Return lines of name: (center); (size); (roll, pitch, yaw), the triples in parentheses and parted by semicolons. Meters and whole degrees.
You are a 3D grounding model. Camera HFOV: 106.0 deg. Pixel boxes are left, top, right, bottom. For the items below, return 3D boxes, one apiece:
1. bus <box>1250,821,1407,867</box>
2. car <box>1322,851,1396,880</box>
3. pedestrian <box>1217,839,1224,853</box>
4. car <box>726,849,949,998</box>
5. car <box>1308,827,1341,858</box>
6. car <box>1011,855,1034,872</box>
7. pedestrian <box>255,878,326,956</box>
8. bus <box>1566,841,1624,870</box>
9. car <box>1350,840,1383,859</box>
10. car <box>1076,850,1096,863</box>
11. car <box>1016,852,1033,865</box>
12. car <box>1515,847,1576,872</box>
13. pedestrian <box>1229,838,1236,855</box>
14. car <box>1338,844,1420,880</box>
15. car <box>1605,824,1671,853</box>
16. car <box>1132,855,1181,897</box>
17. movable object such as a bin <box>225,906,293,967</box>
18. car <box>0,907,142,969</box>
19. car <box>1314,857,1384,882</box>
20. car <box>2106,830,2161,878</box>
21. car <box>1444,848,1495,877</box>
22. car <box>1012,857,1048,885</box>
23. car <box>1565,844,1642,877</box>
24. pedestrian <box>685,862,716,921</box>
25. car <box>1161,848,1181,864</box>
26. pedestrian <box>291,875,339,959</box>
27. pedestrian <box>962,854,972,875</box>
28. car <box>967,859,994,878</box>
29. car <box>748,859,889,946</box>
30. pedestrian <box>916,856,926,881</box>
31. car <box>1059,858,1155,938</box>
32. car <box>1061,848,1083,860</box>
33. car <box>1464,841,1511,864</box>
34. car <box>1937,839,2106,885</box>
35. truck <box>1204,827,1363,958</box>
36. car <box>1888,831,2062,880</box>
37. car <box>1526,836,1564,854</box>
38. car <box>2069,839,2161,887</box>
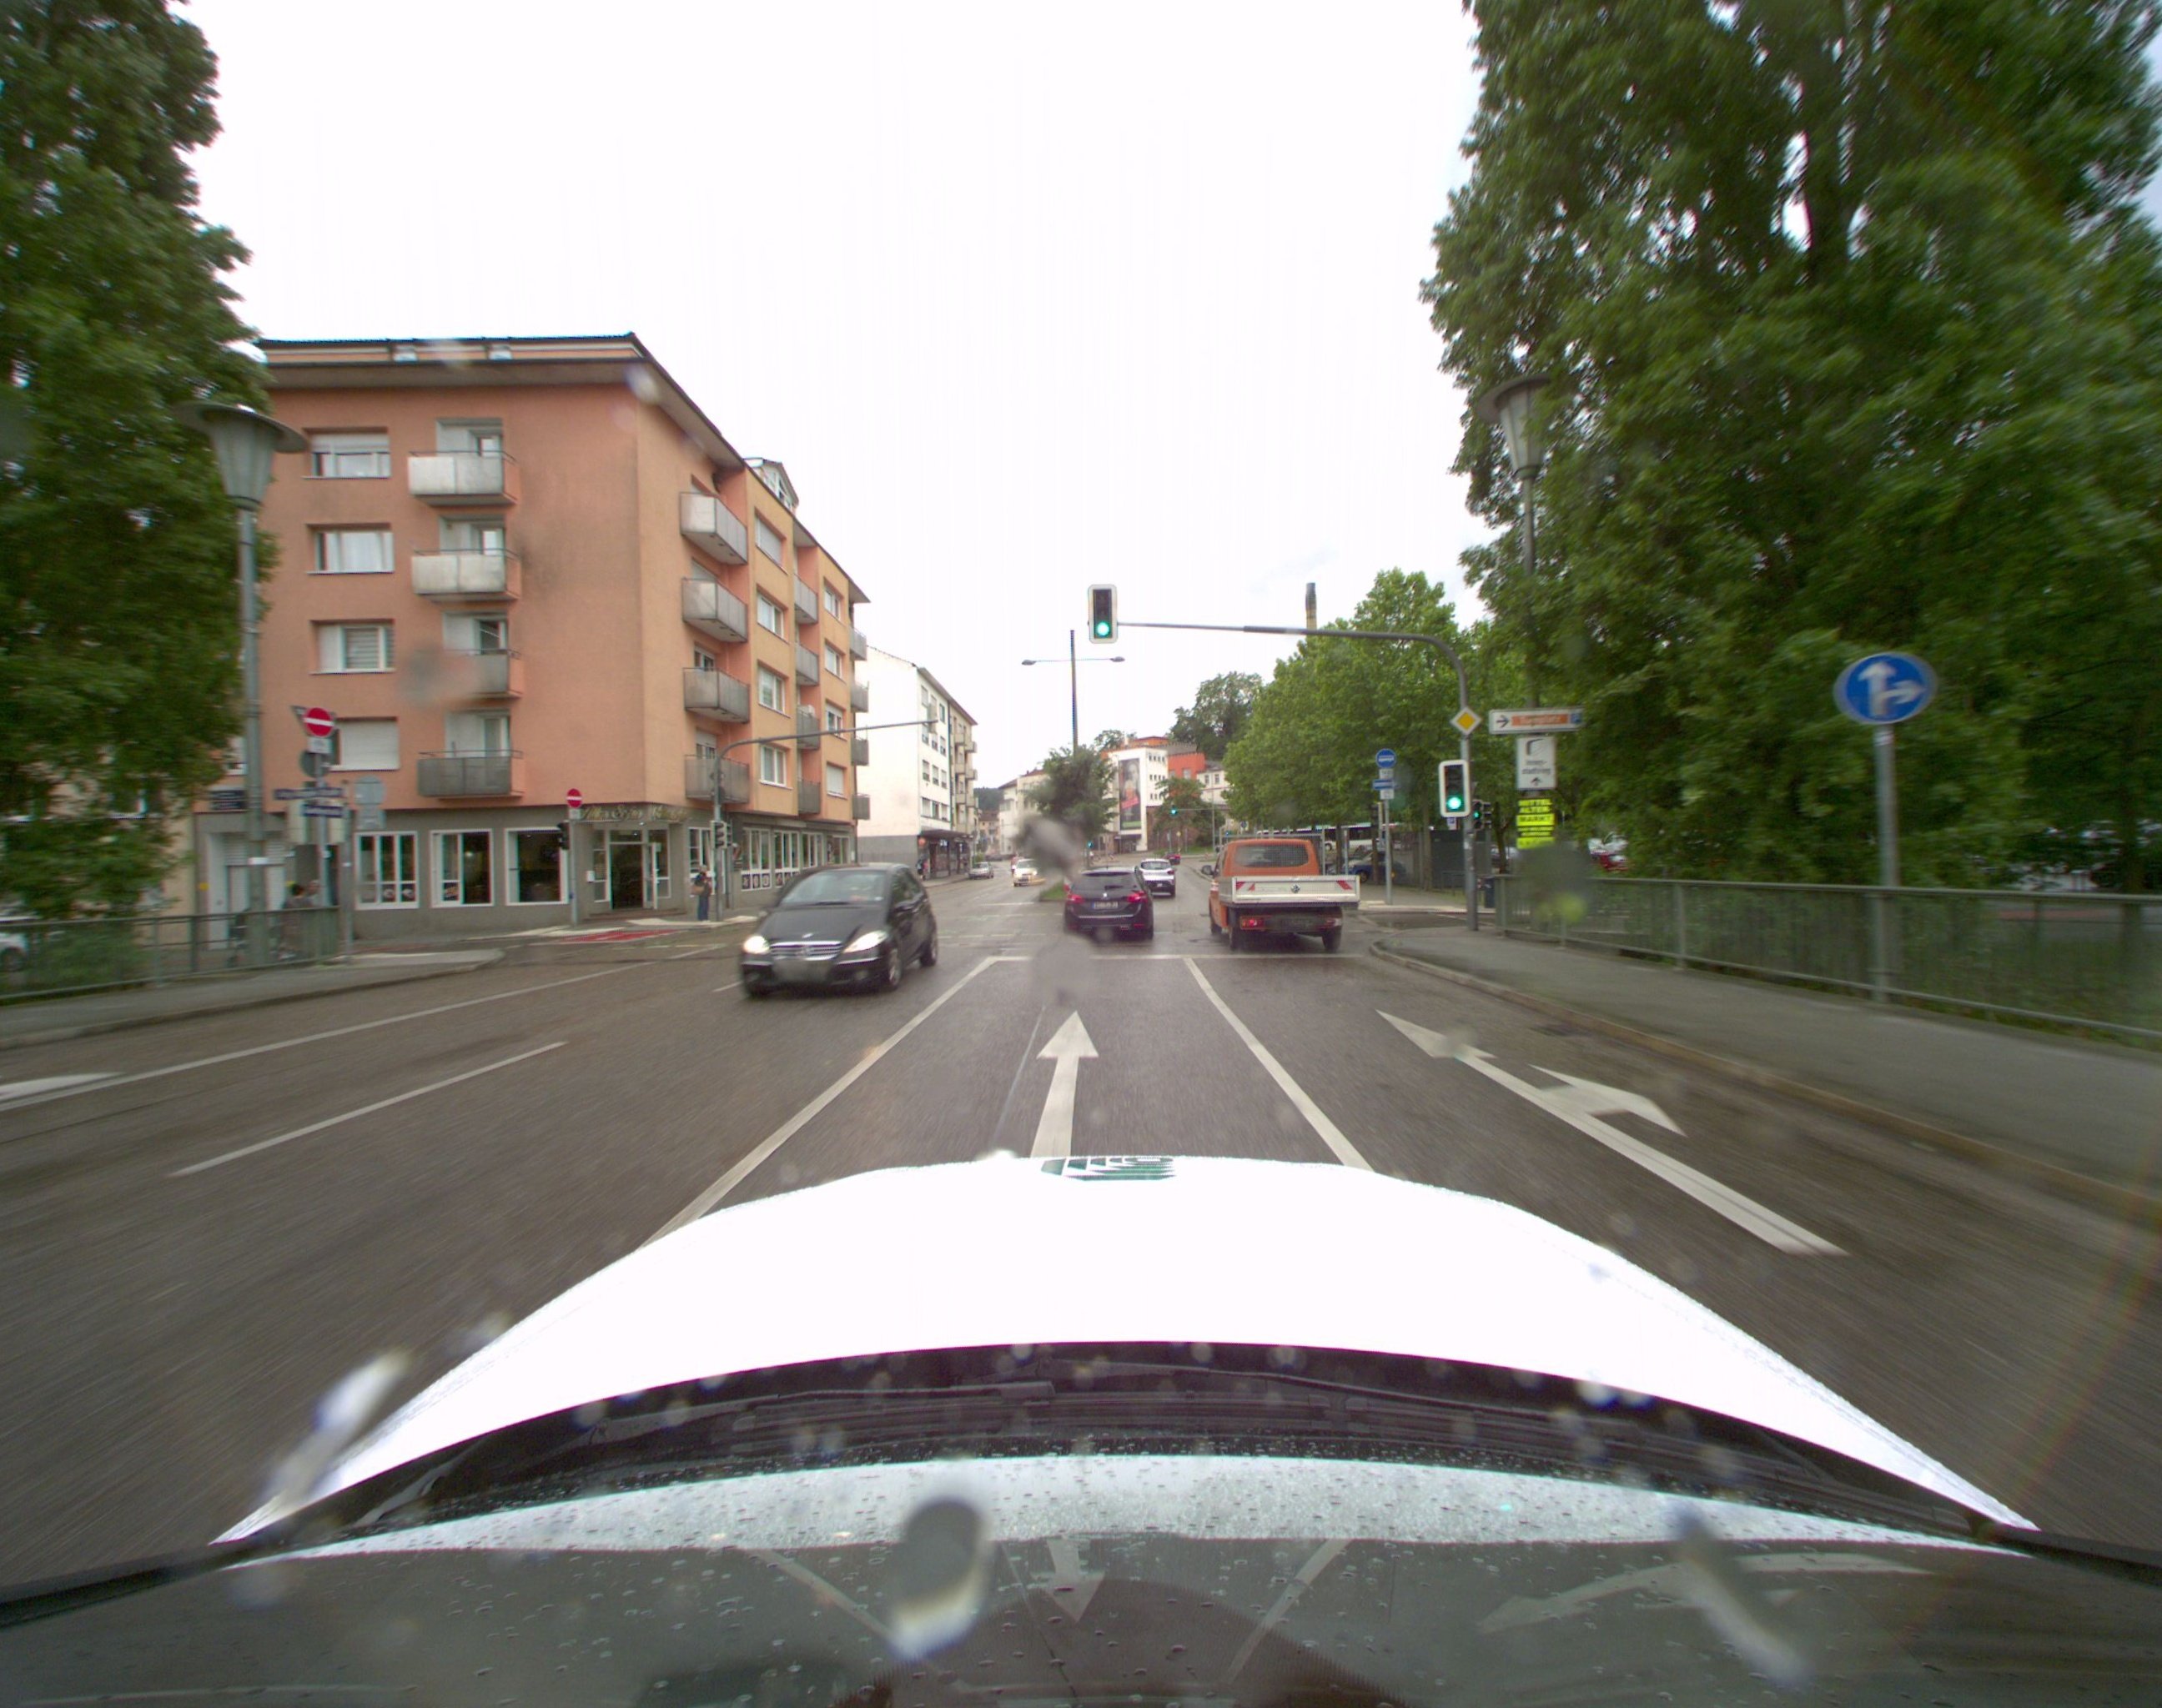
bus: (29.675, -1.203, 98.302); (17.838, 5.211, 3.102); (-1, 0, 4)
car: (17.046, 0.708, 50.035); (3.969, 1.649, 1.920); (1, 0, 4)
pedestrian: (17.097, -0.944, 99.773); (0.637, 1.664, 0.563); (-3, 2, 0)
car: (-3.086, 0.778, 11.228); (1.730, 1.601, 3.920); (-3, 0, 1)
car: (23.755, -1.118, 79.628); (2.064, 2.970, 4.230); (-1, 0, 2)
car: (-5.143, 0.835, 72.186); (1.659, 1.399, 3.877); (-3, 0, 1)
pedestrian: (-15.361, 1.217, 15.835); (0.646, 1.445, 0.804); (-4, -2, 26)
bus: (37.811, 0.148, 60.028); (1.984, 1.948, 4.004); (1, -2, 4)
car: (27.645, -0.442, 78.924); (1.823, 1.826, 4.230); (-1, 0, 2)
car: (0.721, 0.383, 121.607); (1.996, 1.821, 3.981); (-1, 1, -14)
car: (-6.482, 0.529, 94.005); (1.685, 1.401, 3.662); (-1, 0, 1)
car: (27.987, 0.326, 49.198); (1.662, 1.433, 4.005); (-1, 0, 5)
pedestrian: (17.787, -0.887, 95.700); (0.715, 1.992, 0.563); (-3, 2, 0)
car: (16.586, 0.434, 45.491); (3.969, 1.924, 1.972); (0, 0, 4)
car: (40.617, -1.103, 59.484); (1.987, 2.013, 4.063); (-1, 0, 0)
car: (2.952, 0.835, 32.295); (1.787, 1.483, 4.005); (-2, 0, 4)
movable object such as a bin: (-16.297, 1.617, 16.147); (0.789, 1.111, 0.889); (-4, -2, 40)
car: (-28.270, 2.279, 21.828); (3.972, 1.387, 1.900); (-3, 0, 2)
car: (17.346, 0.975, 52.798); (3.969, 1.509, 1.745); (1, 0, 4)
car: (39.357, -0.001, 28.378); (1.795, 1.709, 4.343); (-1, 0, -1)
car: (28.544, 0.685, 59.939); (1.897, 2.014, 3.723); (1, -2, -1)
car: (-2.870, 0.951, 46.726); (1.648, 1.449, 3.545); (-3, 0, 2)
car: (28.005, 0.320, 43.750); (1.592, 1.651, 3.632); (-3, 0, -4)
pedestrian: (-11.439, 1.116, 24.492); (0.528, 1.727, 0.649); (-2, 0, 5)
car: (9.784, 0.262, 88.916); (1.640, 1.564, 3.597); (1, -2, -2)
pedestrian: (-15.787, 1.292, 16.772); (0.789, 1.663, 0.625); (-4, -2, 41)
pedestrian: (-11.262, 1.022, 80.276); (0.731, 2.014, 0.651); (3, -3, -32)
car: (-8.513, 1.230, 69.444); (1.771, 1.525, 3.662); (-1, 0, 1)
car: (-5.642, 0.965, 18.008); (1.730, 1.601, 3.920); (-2, 0, 1)
pedestrian: (-11.869, 1.048, 60.321); (0.637, 1.861, 0.523); (-1, 0, -1)
car: (0.632, 0.829, 17.154); (1.787, 1.483, 4.004); (0, 0, 4)
car: (-1.252, 0.019, 111.245); (1.652, 1.564, 3.572); (2, -2, -23)
car: (32.685, -0.080, 65.619); (1.897, 1.737, 3.723); (1, -2, -1)
car: (37.850, 0.277, 32.964); (1.795, 1.709, 4.343); (-1, 0, -1)
truck: (3.500, 0.569, 15.007); (2.112, 2.025, 4.722); (0, 1, 4)
car: (35.014, 0.042, 32.110); (1.795, 1.764, 4.584); (-1, 0, -1)
car: (43.344, -0.838, 76.154); (1.624, 1.567, 3.610); (-1, 0, 2)
car: (37.174, 0.296, 27.881); (1.795, 1.590, 4.014); (-1, 0, -1)
